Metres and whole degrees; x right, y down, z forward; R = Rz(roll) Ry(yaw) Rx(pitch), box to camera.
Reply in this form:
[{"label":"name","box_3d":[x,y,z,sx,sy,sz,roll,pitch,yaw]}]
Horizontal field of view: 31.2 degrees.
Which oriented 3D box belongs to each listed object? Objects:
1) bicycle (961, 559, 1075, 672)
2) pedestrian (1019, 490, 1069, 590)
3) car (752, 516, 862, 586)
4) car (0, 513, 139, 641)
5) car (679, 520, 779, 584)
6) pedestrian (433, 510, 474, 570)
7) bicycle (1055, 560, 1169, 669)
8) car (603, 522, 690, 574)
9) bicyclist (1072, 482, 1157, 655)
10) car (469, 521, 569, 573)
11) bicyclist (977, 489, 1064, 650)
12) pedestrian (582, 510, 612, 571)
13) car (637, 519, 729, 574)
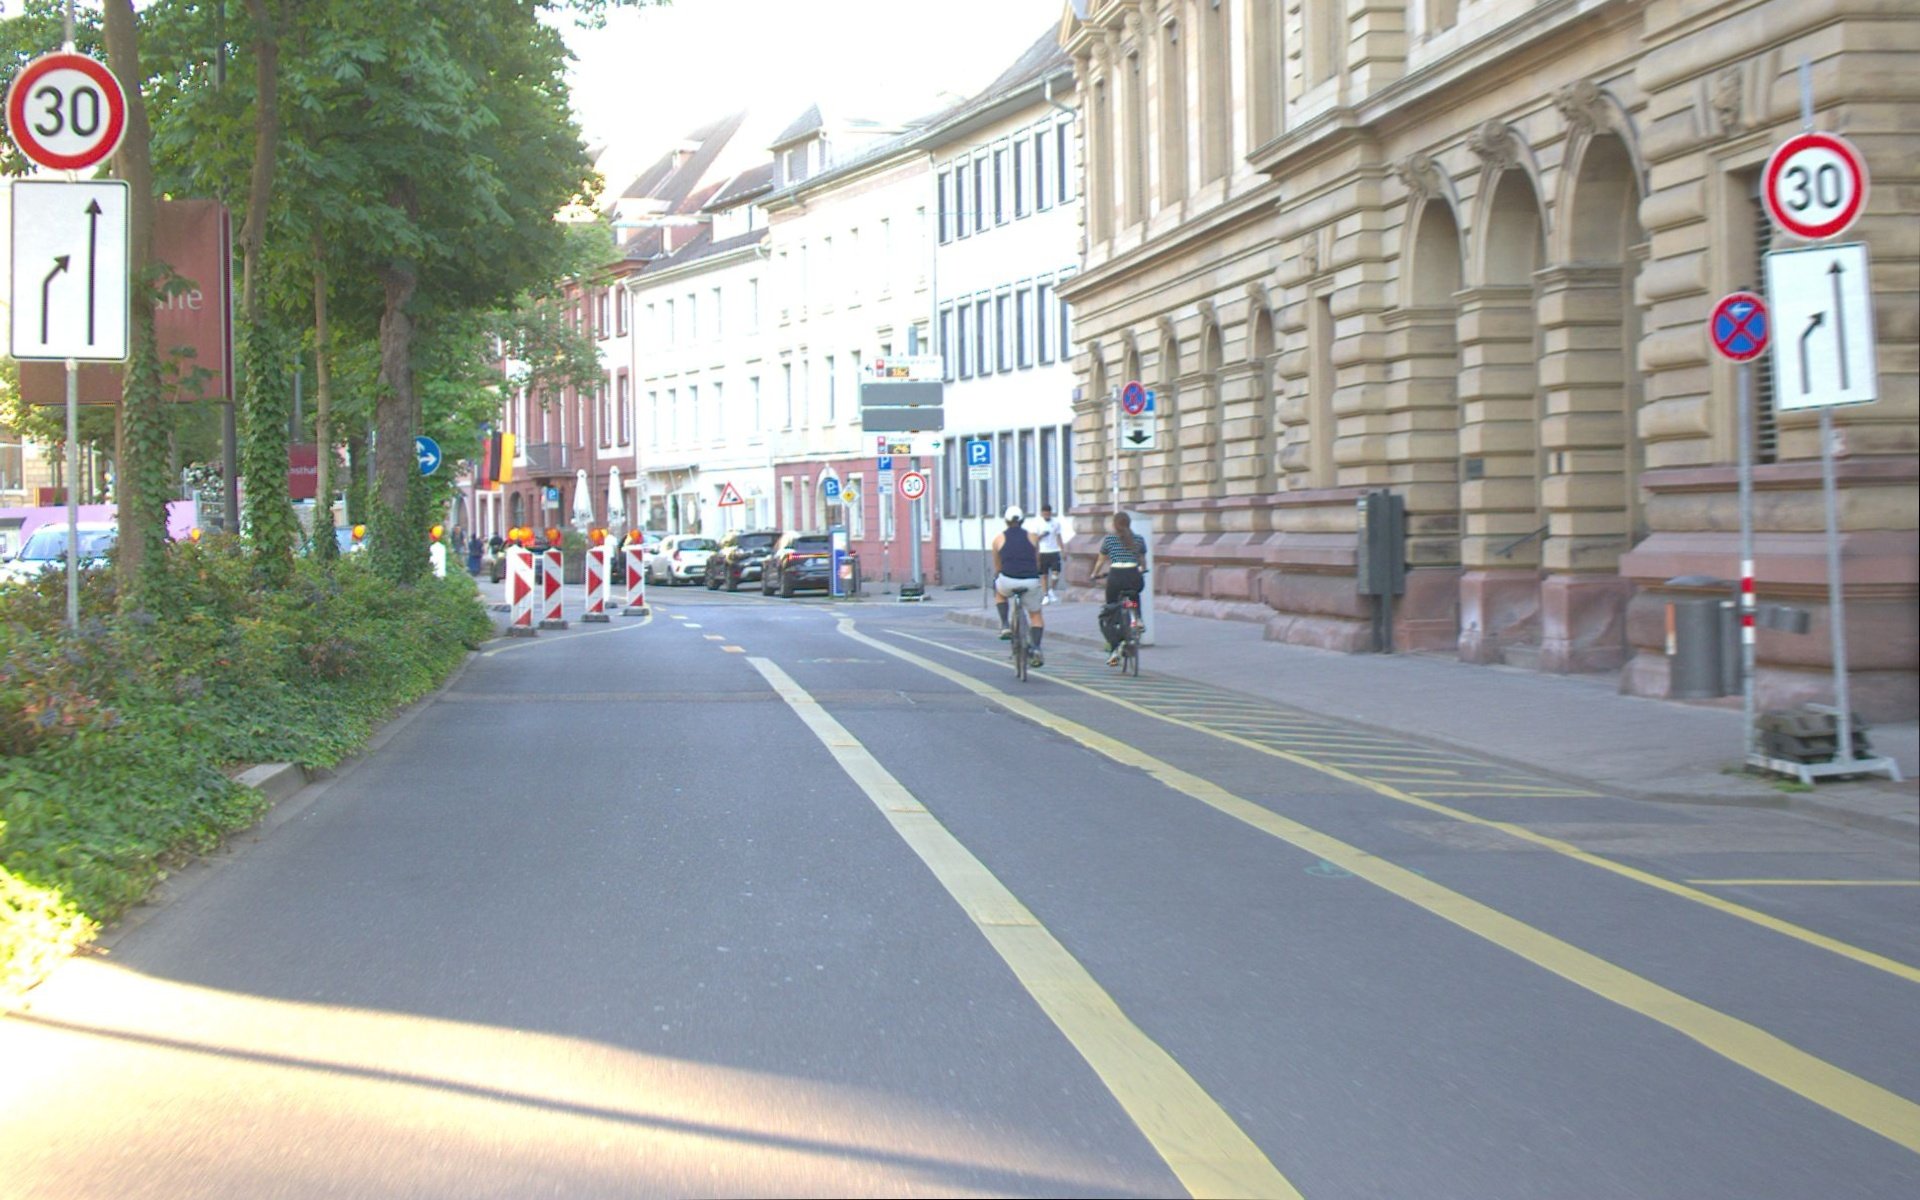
[{"label":"bicycle","box_3d":[0.562,0.142,34.091,0.669,1.067,1.902,1,1,-13]},{"label":"pedestrian","box_3d":[1.481,-1.068,60.764,0.816,1.759,1.038,0,2,-2]},{"label":"car","box_3d":[-3.794,-1.229,84.697,1.812,1.676,3.921,-1,1,-16]},{"label":"car","box_3d":[-12.973,-0.345,48.162,1.842,1.668,4.557,-2,2,-1]},{"label":"car","box_3d":[-6.233,-1.299,92.278,1.812,1.678,4.001,-1,1,-17]},{"label":"pedestrian","box_3d":[-14.075,-1.665,95.537,0.736,1.668,0.894,0,1,22]},{"label":"bicycle","box_3d":[1.562,0.138,35.747,0.652,1.067,2.259,1,1,-11]},{"label":"car","box_3d":[-9.574,-1.593,104.636,1.812,1.554,3.866,-1,1,-18]},{"label":"bicyclist","box_3d":[1.594,-0.336,35.567,0.649,1.754,0.864,1,1,-11]},{"label":"car","box_3d":[-13.575,-1.634,105.702,1.812,1.554,3.865,-1,1,-28]},{"label":"bicyclist","box_3d":[0.594,-0.307,34.009,0.668,1.560,0.699,1,1,-13]},{"label":"pedestrian","box_3d":[-11.012,-1.804,104.413,0.831,1.838,0.958,0,2,-2]},{"label":"car","box_3d":[-8.106,-1.561,100.206,1.812,1.554,3.866,-1,1,-18]}]
